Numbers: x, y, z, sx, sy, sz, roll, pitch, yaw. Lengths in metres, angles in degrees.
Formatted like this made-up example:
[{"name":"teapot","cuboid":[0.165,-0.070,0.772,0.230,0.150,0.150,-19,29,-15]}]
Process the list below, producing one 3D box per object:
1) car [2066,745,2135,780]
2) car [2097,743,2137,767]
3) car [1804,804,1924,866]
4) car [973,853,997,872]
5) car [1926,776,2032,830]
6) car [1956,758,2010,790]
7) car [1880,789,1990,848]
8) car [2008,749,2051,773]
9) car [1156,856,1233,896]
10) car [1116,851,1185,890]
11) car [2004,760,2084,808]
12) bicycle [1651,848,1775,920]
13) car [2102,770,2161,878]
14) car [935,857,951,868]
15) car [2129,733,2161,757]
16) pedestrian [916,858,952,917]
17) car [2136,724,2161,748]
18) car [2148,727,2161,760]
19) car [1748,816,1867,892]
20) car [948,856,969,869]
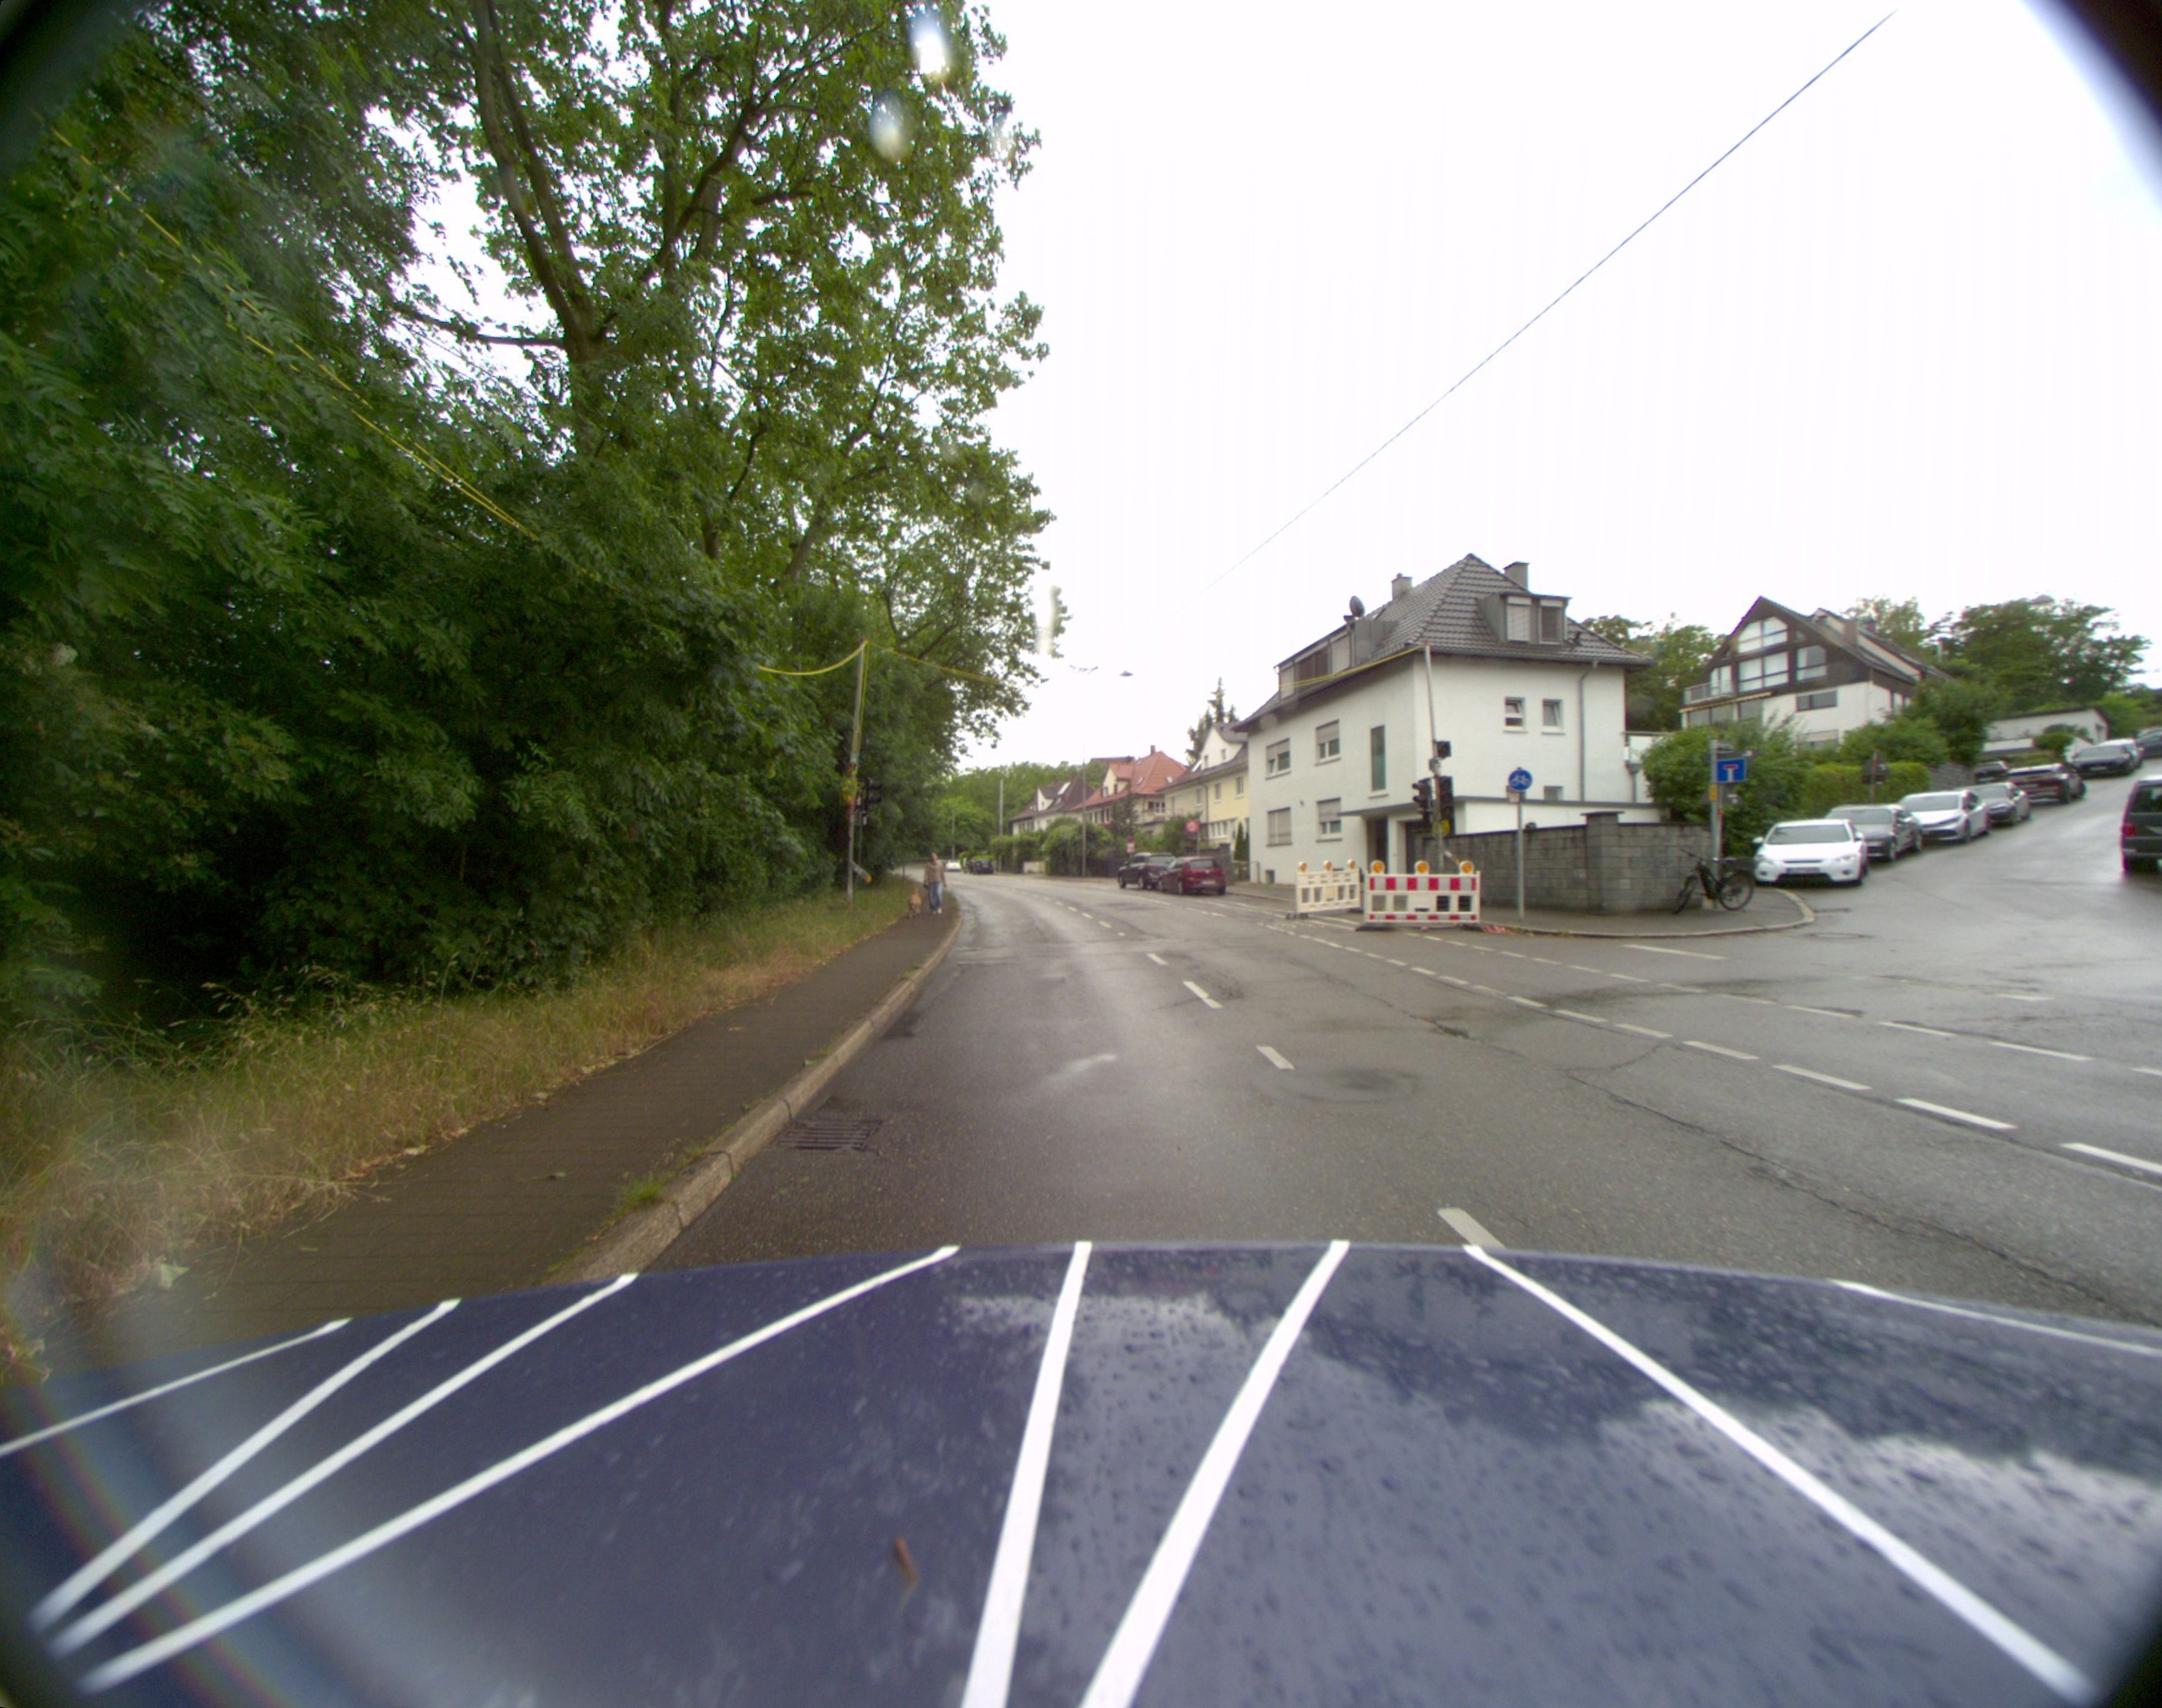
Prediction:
[{"name":"car","cuboid":[54.813,-4.877,40.838,4.034,1.511,1.786,-2,0,-31]},{"name":"car","cuboid":[59.835,-5.739,43.895,2.988,1.191,1.305,-6,3,-35]},{"name":"car","cuboid":[22.461,-0.558,21.756,3.910,1.380,1.719,-7,3,-34]},{"name":"car","cuboid":[-9.610,0.847,75.954,1.882,1.814,4.121,-2,0,-14]},{"name":"car","cuboid":[32.324,-1.831,27.331,4.111,1.430,1.921,-9,4,-33]},{"name":"car","cuboid":[52.865,-4.646,44.514,4.020,1.545,1.812,-3,1,-37]},{"name":"car","cuboid":[27.267,-1.152,24.229,3.951,1.462,1.755,-7,3,-33]},{"name":"car","cuboid":[57.237,-5.635,45.863,3.656,1.205,1.577,-7,3,-38]},{"name":"car","cuboid":[4.380,0.818,29.903,1.787,1.423,3.844,-2,0,-10]},{"name":"car","cuboid":[3.127,0.733,35.031,1.798,1.630,4.150,-1,0,-15]},{"name":"car","cuboid":[40.717,-2.982,32.110,4.004,1.617,1.638,-8,4,-32]},{"name":"bicycle","cuboid":[11.584,0.536,13.933,2.006,1.232,0.510,-2,3,-8]},{"name":"car","cuboid":[23.880,-0.752,16.259,4.497,2.003,1.996,-7,3,-31]},{"name":"car","cuboid":[-18.744,1.140,103.010,1.691,1.419,3.770,-2,0,-17]},{"name":"car","cuboid":[68.322,-6.933,47.695,1.286,1.310,2.945,-3,1,-36]},{"name":"pedestrian","cuboid":[-3.819,0.858,19.823,0.735,1.490,0.785,-2,1,-1]},{"name":"car","cuboid":[81.116,-8.863,55.957,1.754,1.508,3.961,-3,1,-35]},{"name":"car","cuboid":[72.463,-7.444,48.979,2.003,2.000,3.993,-2,-4,-32]},{"name":"car","cuboid":[17.774,-0.049,18.535,4.126,1.455,1.849,-7,4,-43]},{"name":"car","cuboid":[-15.236,1.078,94.174,2.071,1.477,4.556,-2,0,-16]}]
